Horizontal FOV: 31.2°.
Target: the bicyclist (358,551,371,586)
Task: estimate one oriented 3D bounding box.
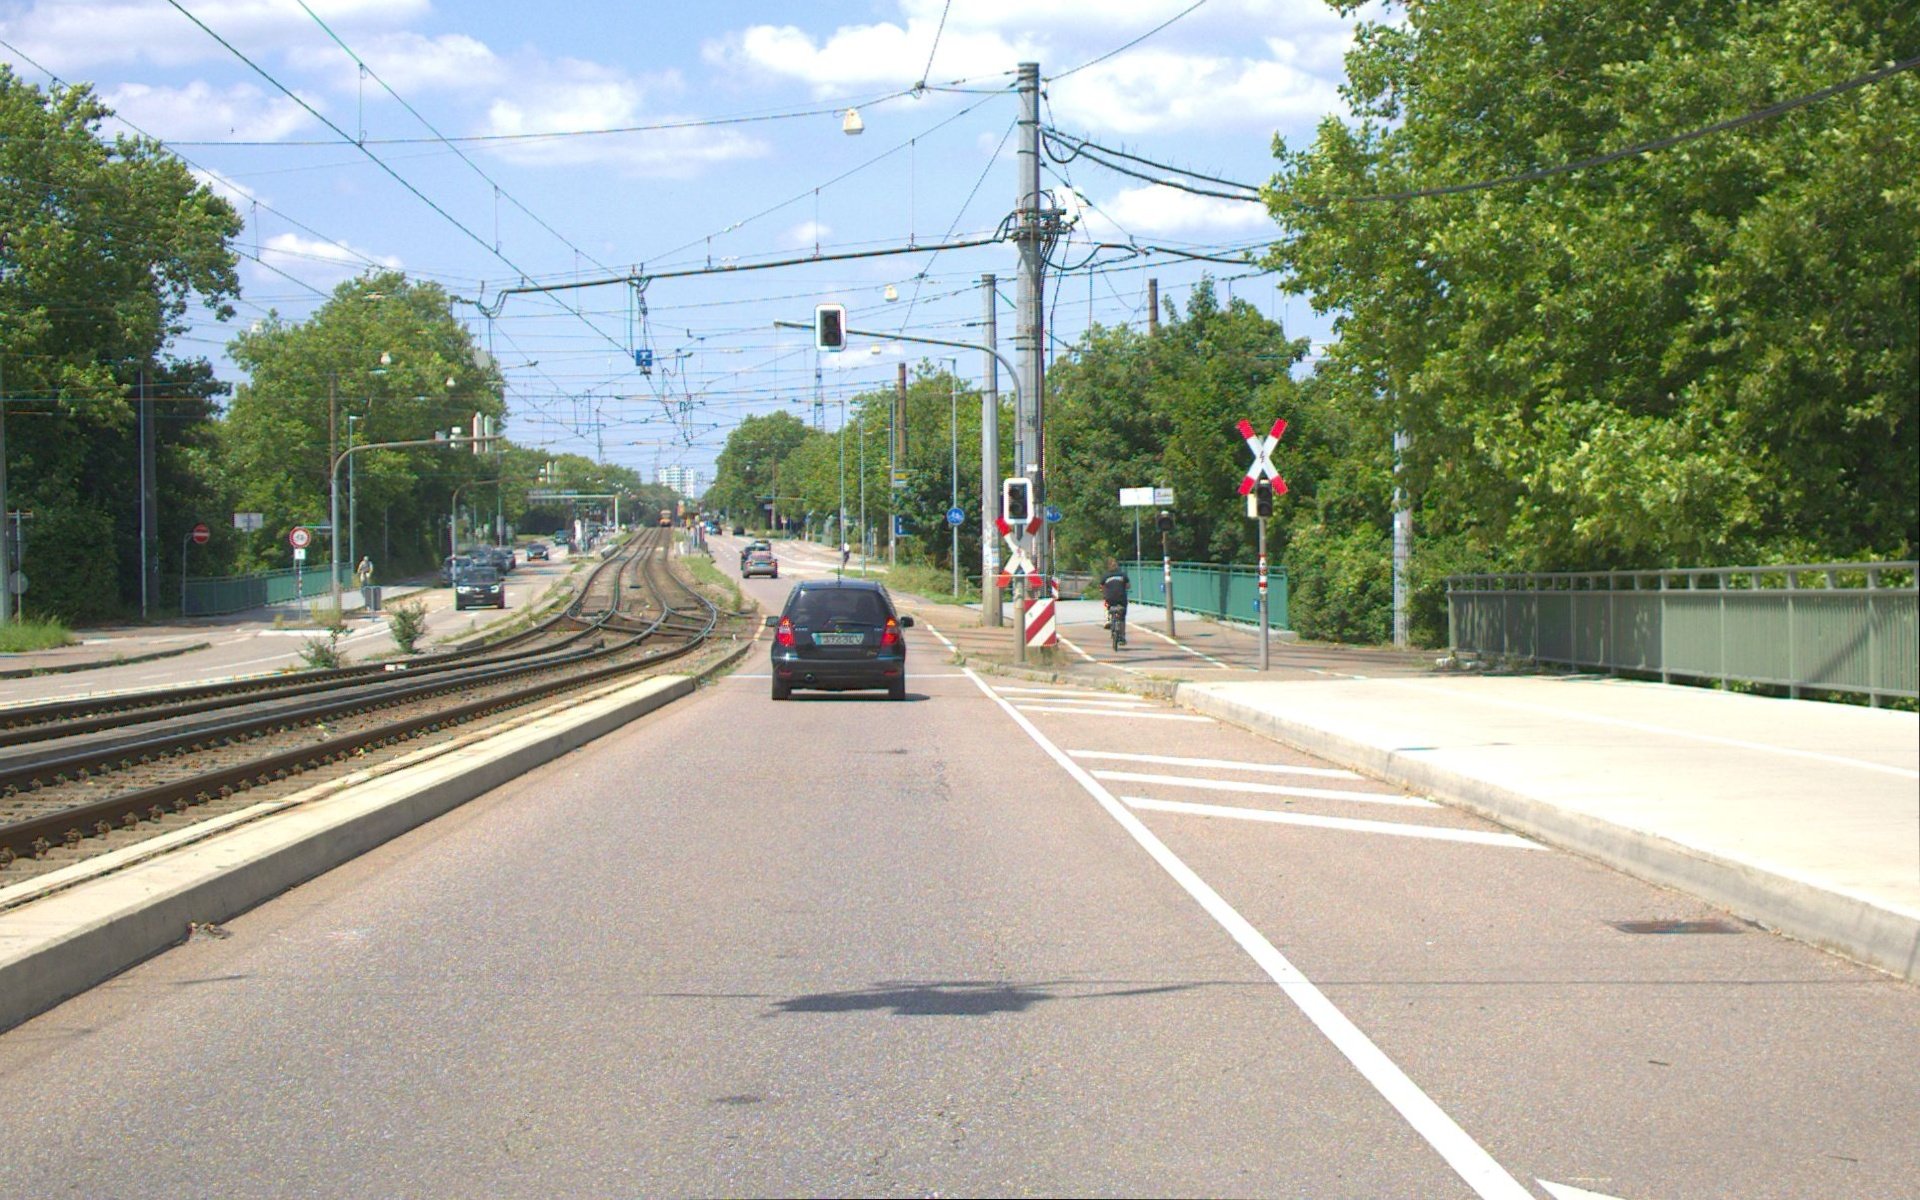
[{"bbox_3d":[-25.590,-1.361,147.792,0.456,1.469,0.633,0,1,-2],"label":"bicyclist"}]

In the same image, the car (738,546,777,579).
[{"bbox_3d":[-11.210,-2.104,190.717,1.884,1.634,4.001,3,2,-1],"label":"car"}]

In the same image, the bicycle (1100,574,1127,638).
[{"bbox_3d":[2.994,0.111,67.297,0.432,1.148,1.855,1,2,0],"label":"bicycle"}]

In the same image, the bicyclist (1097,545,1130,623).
[{"bbox_3d":[2.999,-0.308,67.144,0.585,1.489,0.558,1,2,0],"label":"bicyclist"}]

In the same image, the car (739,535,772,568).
[{"bbox_3d":[-13.466,-3.192,226.435,1.993,2.006,4.001,1,2,-2],"label":"car"}]

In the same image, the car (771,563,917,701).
[{"bbox_3d":[-1.535,0.382,46.270,1.853,1.564,4.389,1,3,-1],"label":"car"}]

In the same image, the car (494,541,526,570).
[{"bbox_3d":[-31.383,-3.074,239.795,1.993,2.007,4.001,-1,0,-4],"label":"car"}]

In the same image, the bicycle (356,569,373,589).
[{"bbox_3d":[-25.581,-0.899,147.721,0.469,0.865,1.743,0,1,-2],"label":"bicycle"}]

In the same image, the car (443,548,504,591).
[{"bbox_3d":[-17.724,-1.125,125.347,1.705,1.505,3.733,-2,1,0],"label":"car"}]
